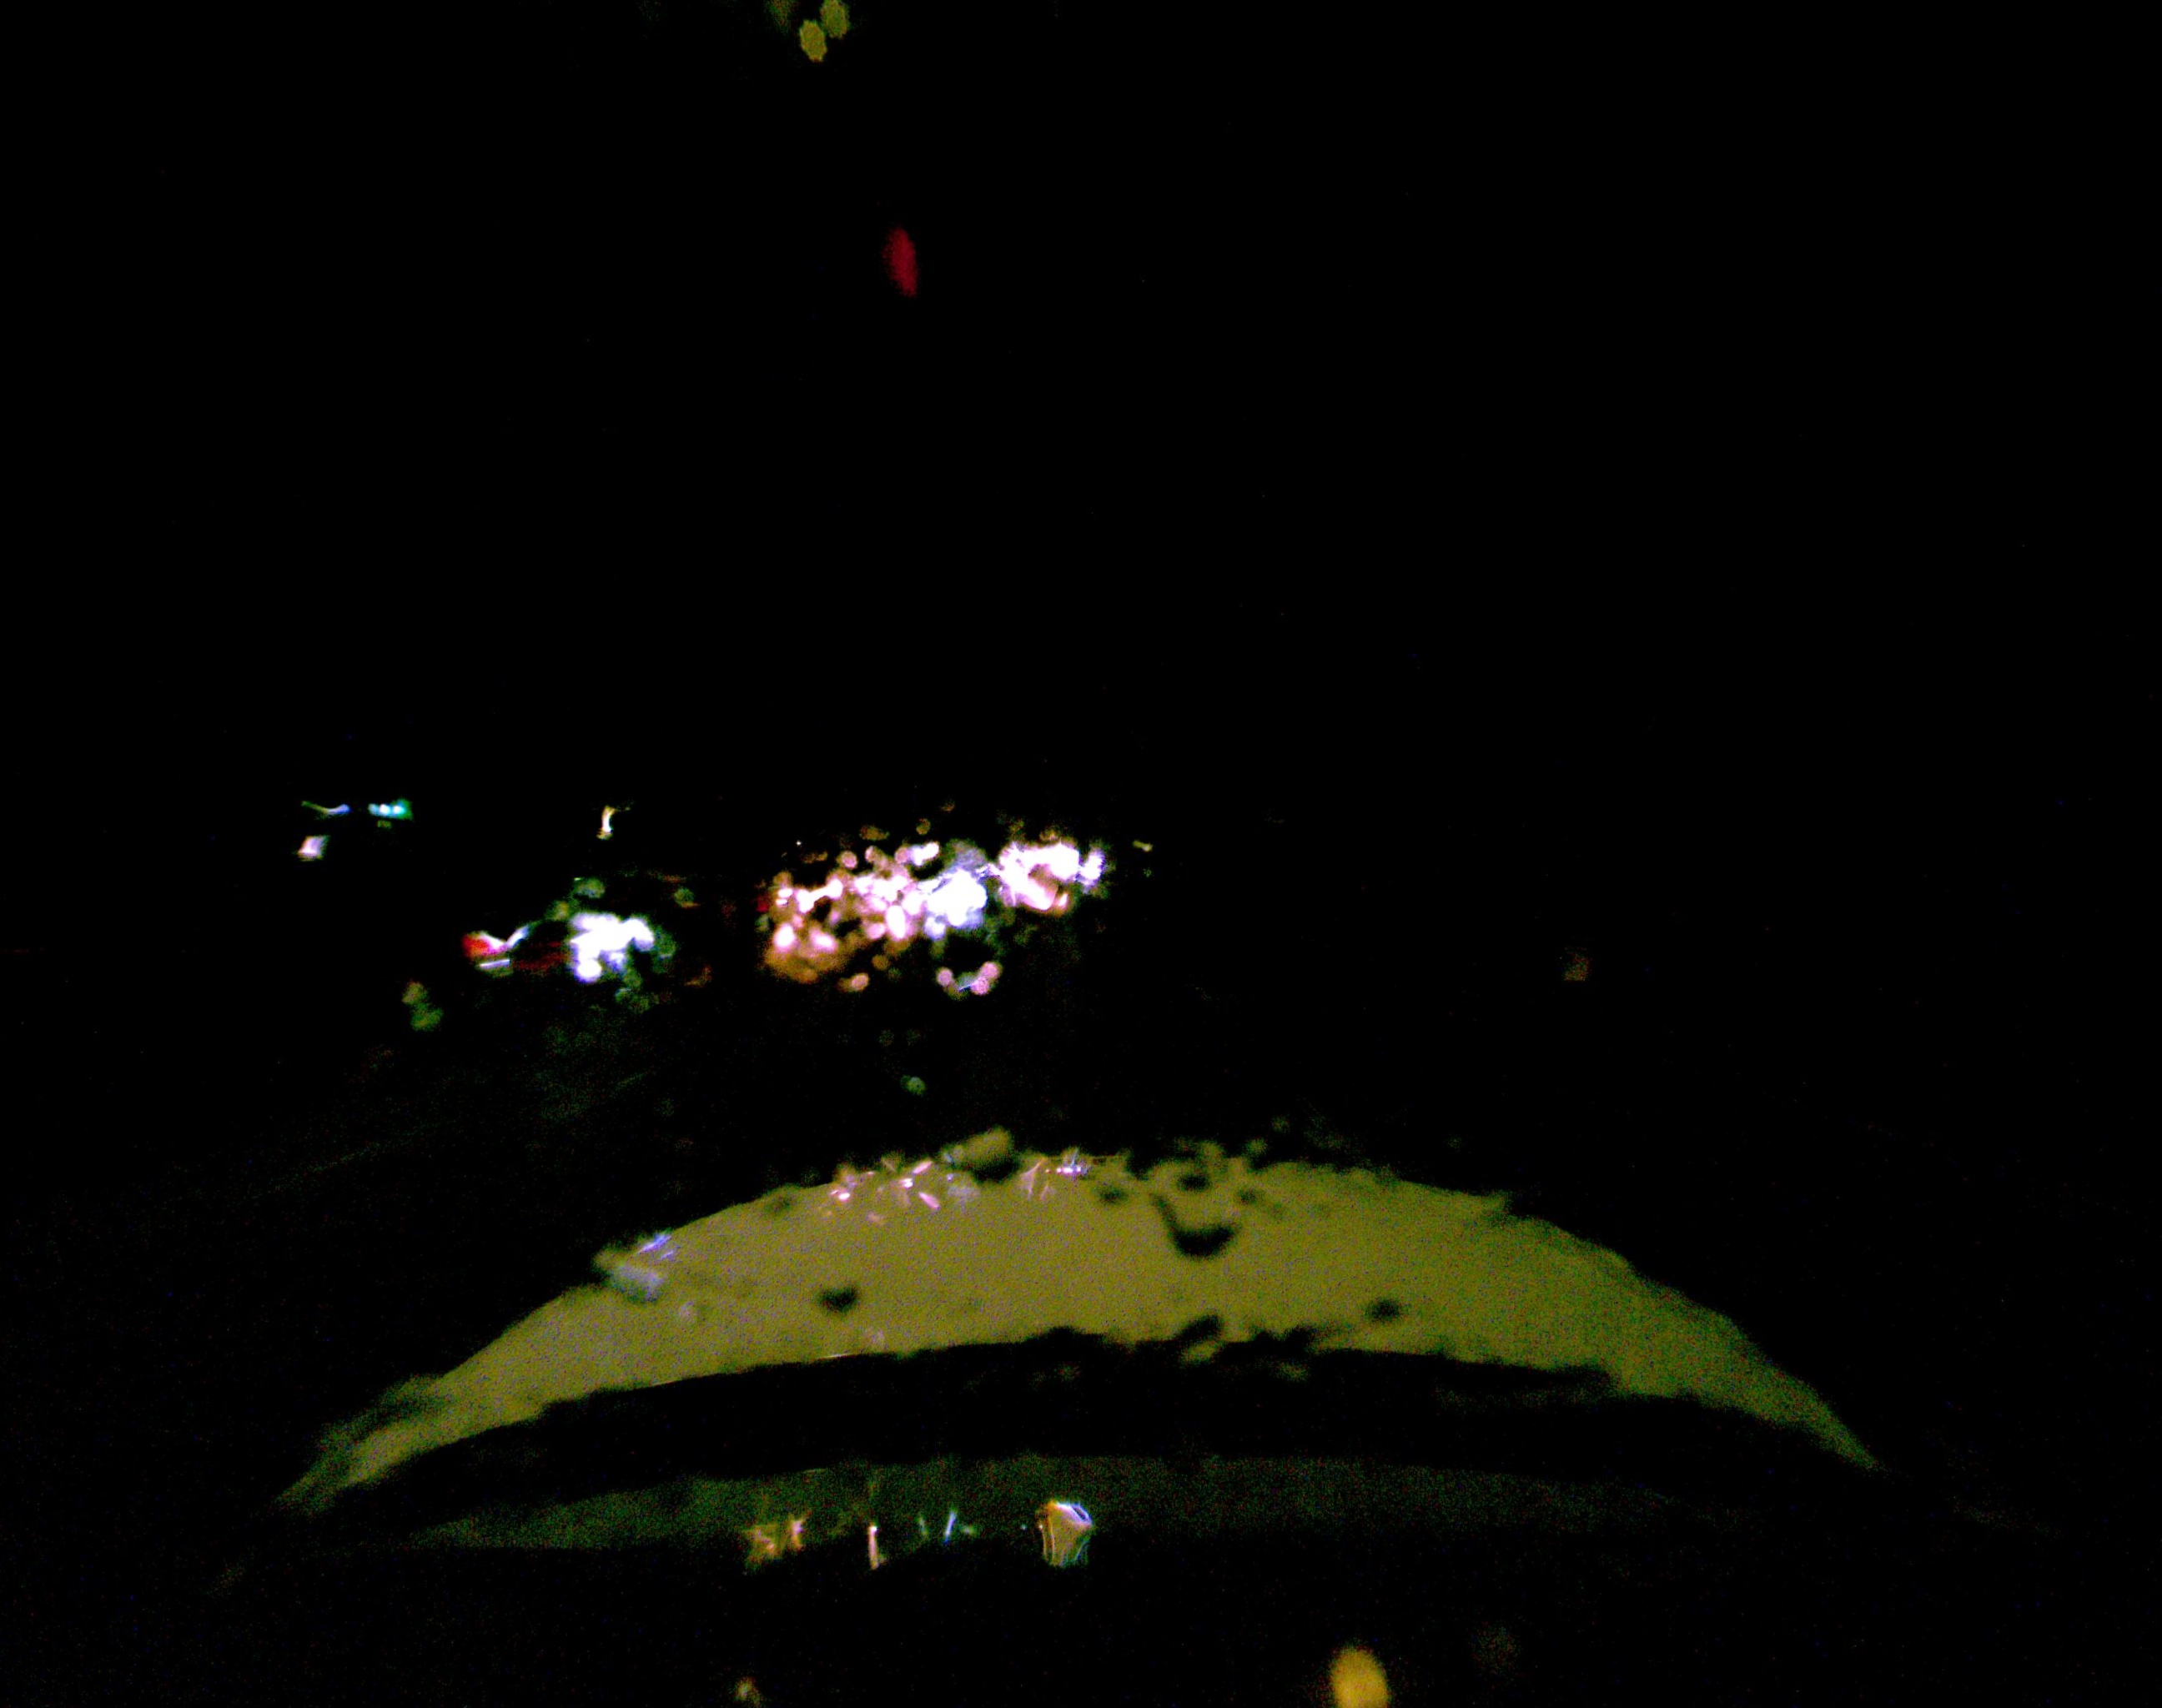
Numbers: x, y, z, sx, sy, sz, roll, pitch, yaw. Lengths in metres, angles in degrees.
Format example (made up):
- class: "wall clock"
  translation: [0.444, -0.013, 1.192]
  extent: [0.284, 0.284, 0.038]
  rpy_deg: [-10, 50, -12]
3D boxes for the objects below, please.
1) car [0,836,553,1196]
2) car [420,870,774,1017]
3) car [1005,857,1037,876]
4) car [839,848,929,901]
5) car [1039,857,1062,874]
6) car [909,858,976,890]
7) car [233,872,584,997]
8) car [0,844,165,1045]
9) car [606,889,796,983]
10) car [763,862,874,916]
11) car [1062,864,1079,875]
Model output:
- class: "car"
  translation: [-6.048, 0.791, 5.153]
  extent: [1.986, 1.698, 5.014]
  rpy_deg: [0, -1, 2]
- class: "car"
  translation: [-6.007, 0.995, 10.924]
  extent: [1.949, 1.571, 4.468]
  rpy_deg: [0, -1, 2]
- class: "car"
  translation: [-5.382, 1.094, 73.269]
  extent: [2.073, 1.542, 4.905]
  rpy_deg: [-1, 0, 5]
- class: "car"
  translation: [-7.873, 0.790, 33.108]
  extent: [2.144, 2.014, 5.000]
  rpy_deg: [0, 0, 4]
- class: "car"
  translation: [-3.526, 1.310, 94.660]
  extent: [1.984, 1.865, 5.327]
  rpy_deg: [-1, 0, 5]
- class: "car"
  translation: [-7.160, 1.010, 42.678]
  extent: [2.171, 1.558, 5.211]
  rpy_deg: [-1, 0, 5]
- class: "car"
  translation: [-9.114, 0.992, 11.509]
  extent: [1.815, 1.452, 3.604]
  rpy_deg: [0, -1, 3]
- class: "car"
  translation: [-9.615, 0.697, 4.851]
  extent: [2.349, 1.556, 5.162]
  rpy_deg: [0, 0, 2]
- class: "car"
  translation: [-8.497, 1.754, 18.759]
  extent: [1.984, 1.746, 4.504]
  rpy_deg: [0, 0, 5]
- class: "car"
  translation: [-8.095, 1.034, 25.520]
  extent: [1.956, 1.529, 3.694]
  rpy_deg: [0, 0, 6]
- class: "car"
  translation: [-1.511, 2.332, 122.741]
  extent: [2.101, 1.575, 4.685]
  rpy_deg: [0, 0, 4]
